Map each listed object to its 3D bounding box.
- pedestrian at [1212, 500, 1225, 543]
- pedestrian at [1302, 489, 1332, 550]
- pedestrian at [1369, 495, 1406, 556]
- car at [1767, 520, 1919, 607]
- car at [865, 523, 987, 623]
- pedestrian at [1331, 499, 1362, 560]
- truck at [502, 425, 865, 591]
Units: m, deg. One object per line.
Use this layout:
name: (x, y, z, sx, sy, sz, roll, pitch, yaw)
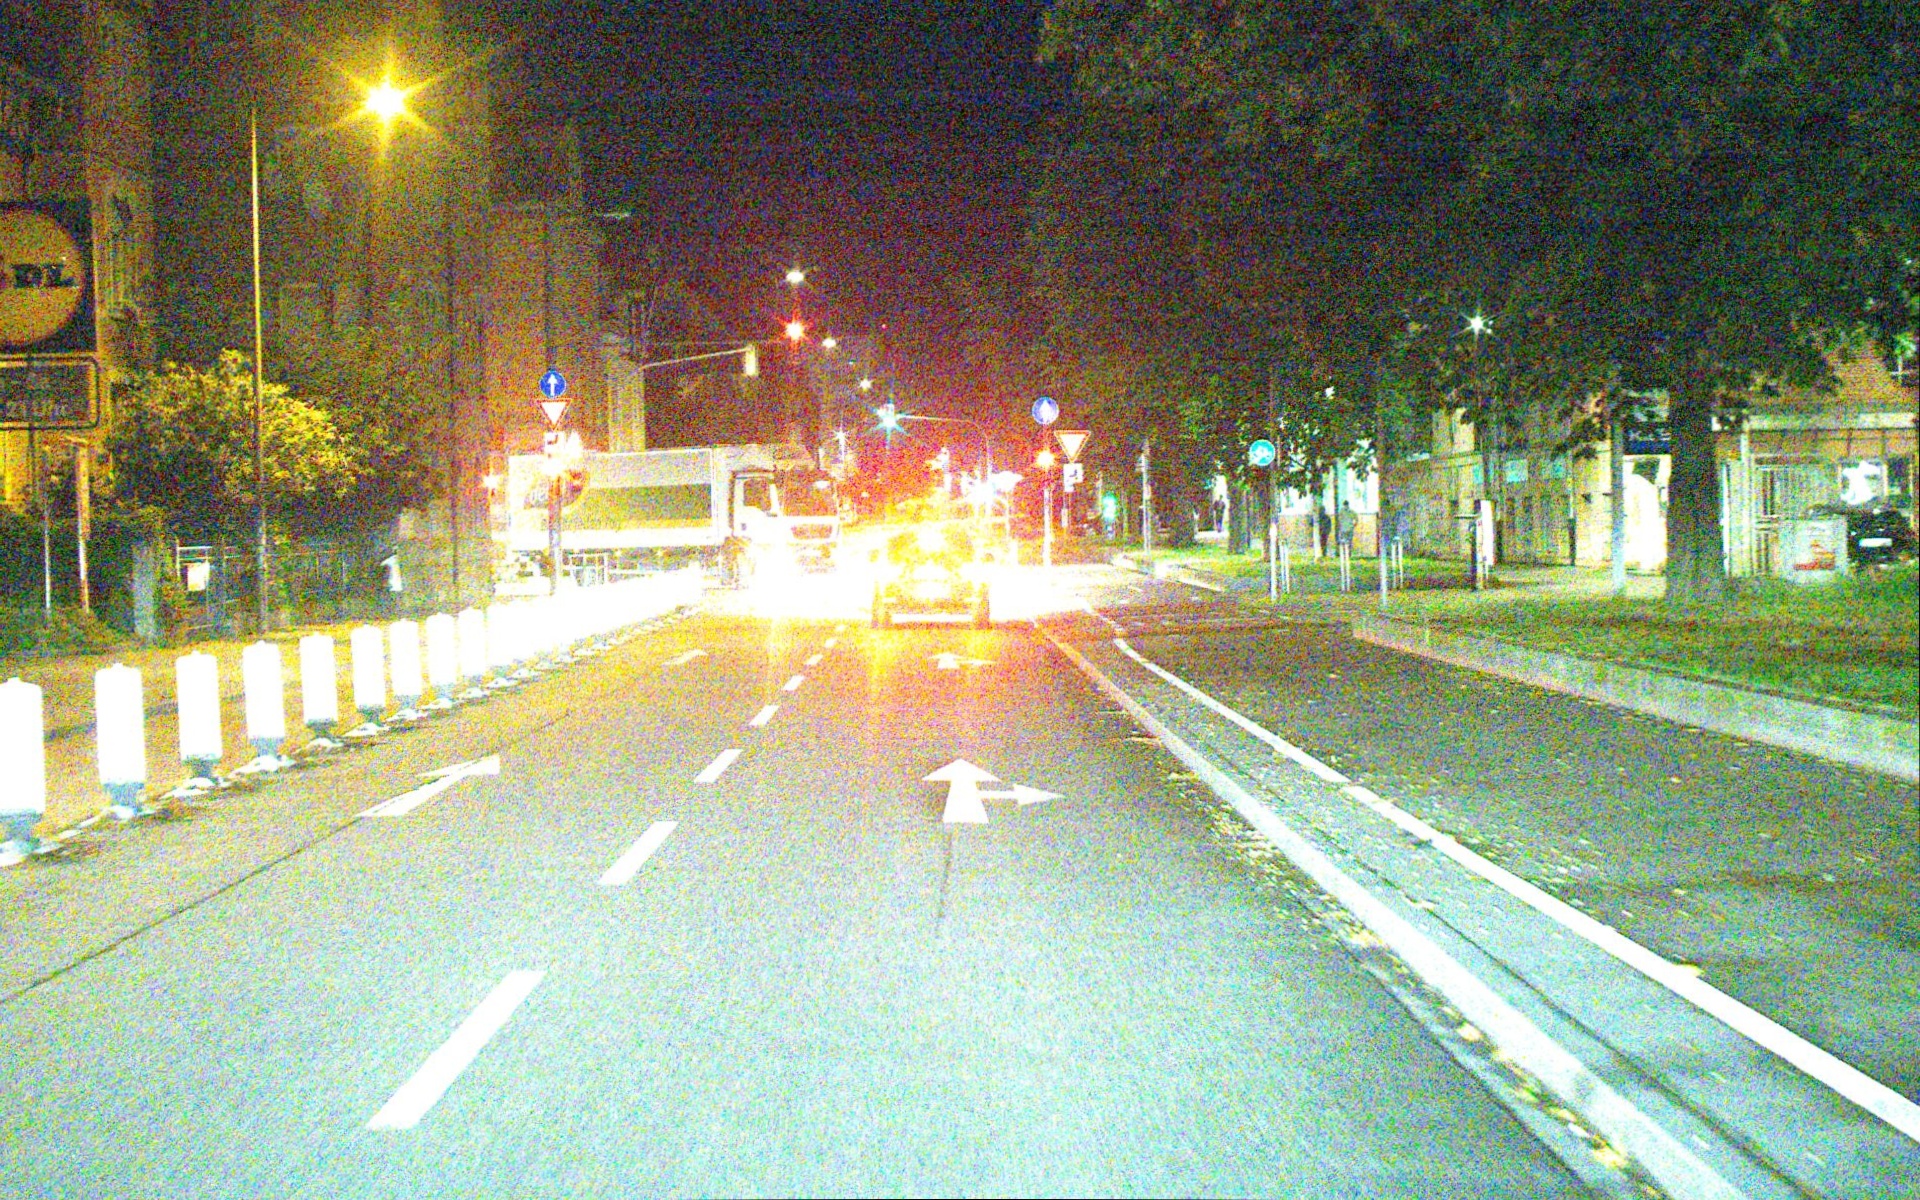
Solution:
pedestrian: (12.063, -3.666, 160.541, 0.487, 2.007, 0.551, -2, 1, -1)
pedestrian: (10.443, -2.353, 100.509, 0.714, 1.763, 0.907, -2, 1, -1)
pedestrian: (12.560, -2.193, 101.030, 0.901, 1.763, 0.907, -2, 1, -1)
car: (15.204, -0.650, 59.043, 1.512, 1.390, 4.482, -2, 1, -1)
car: (-0.508, -0.452, 54.054, 1.805, 1.489, 4.730, 1, 1, 0)
pedestrian: (11.330, -2.074, 100.770, 0.738, 1.763, 0.907, -2, 1, -1)
truck: (-7.063, -2.253, 86.188, 10.104, 3.705, 2.758, -1, 2, 42)
